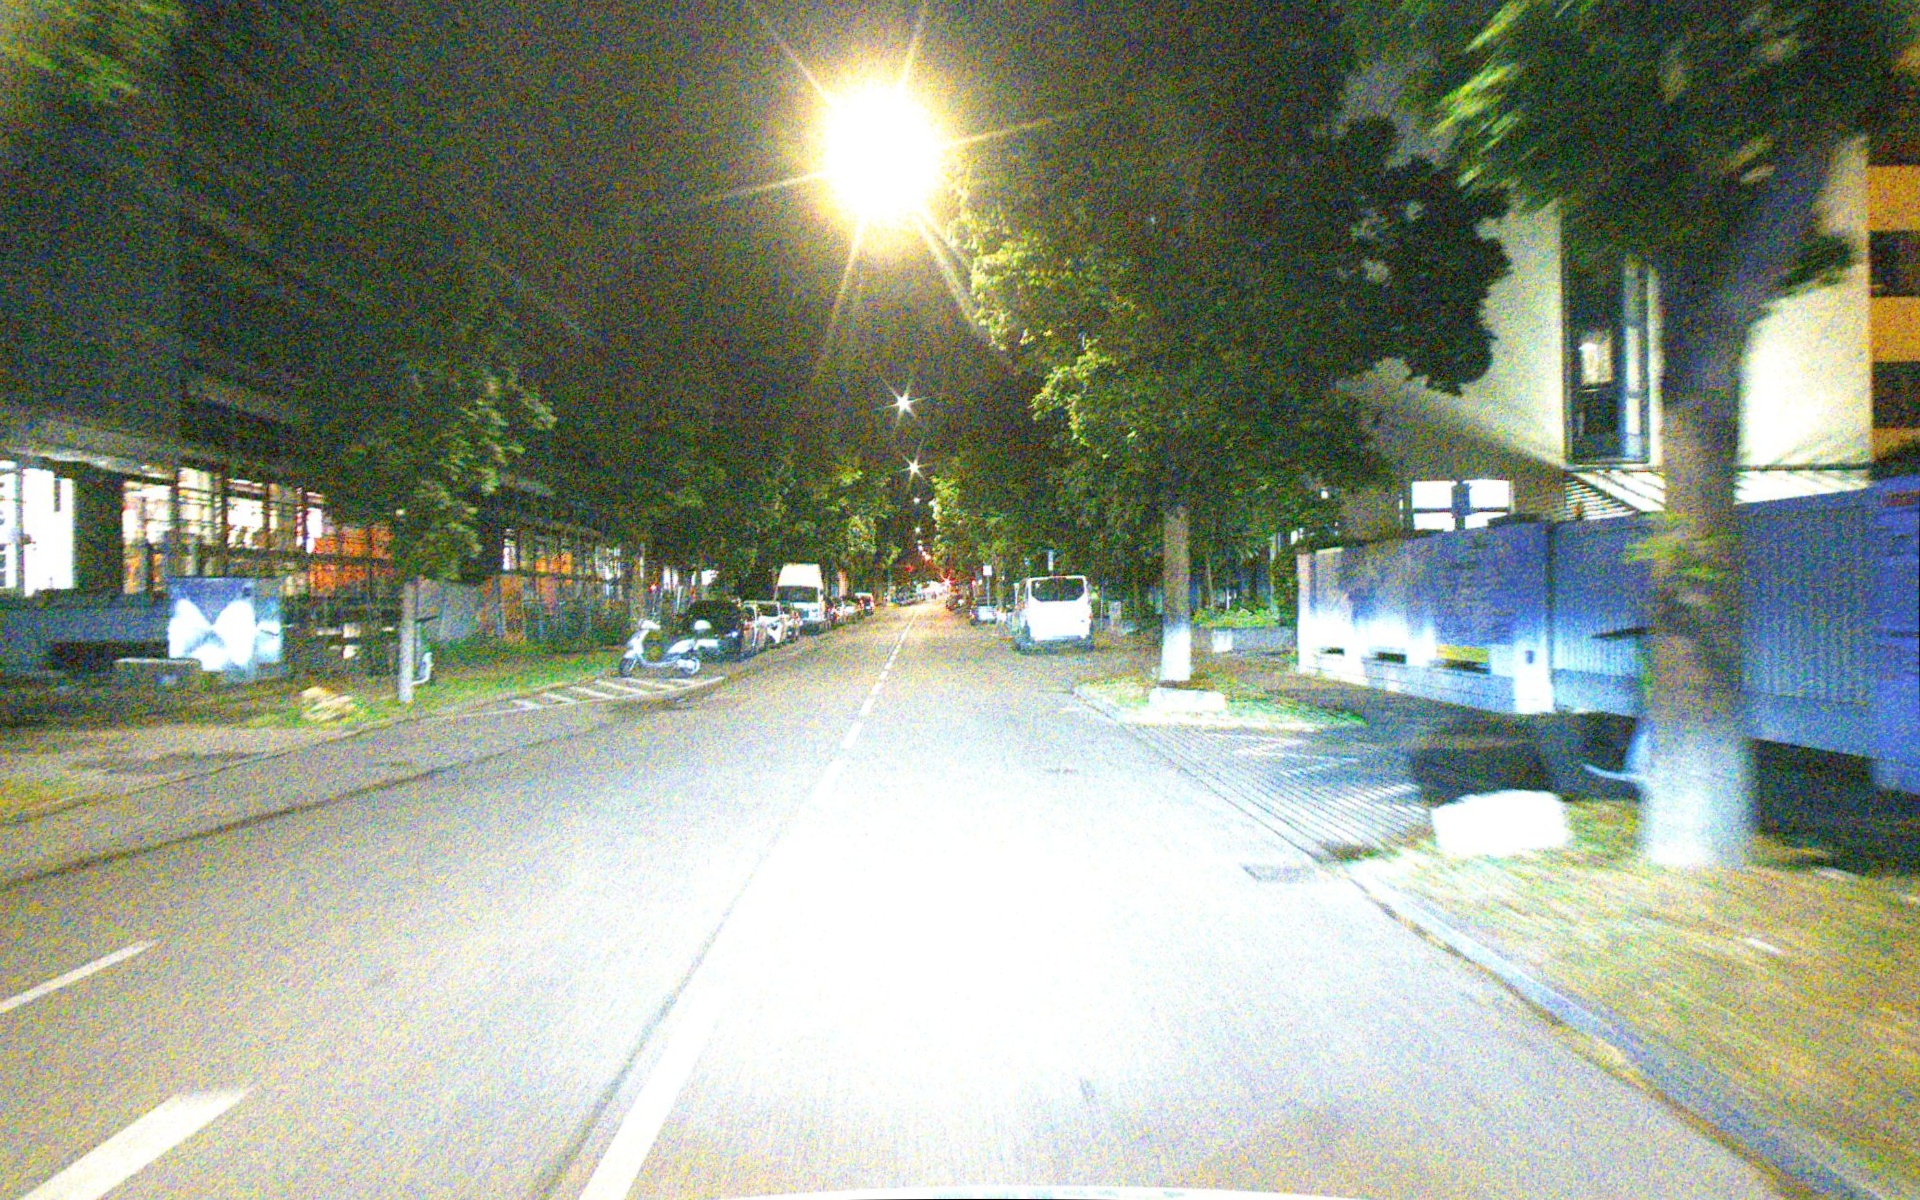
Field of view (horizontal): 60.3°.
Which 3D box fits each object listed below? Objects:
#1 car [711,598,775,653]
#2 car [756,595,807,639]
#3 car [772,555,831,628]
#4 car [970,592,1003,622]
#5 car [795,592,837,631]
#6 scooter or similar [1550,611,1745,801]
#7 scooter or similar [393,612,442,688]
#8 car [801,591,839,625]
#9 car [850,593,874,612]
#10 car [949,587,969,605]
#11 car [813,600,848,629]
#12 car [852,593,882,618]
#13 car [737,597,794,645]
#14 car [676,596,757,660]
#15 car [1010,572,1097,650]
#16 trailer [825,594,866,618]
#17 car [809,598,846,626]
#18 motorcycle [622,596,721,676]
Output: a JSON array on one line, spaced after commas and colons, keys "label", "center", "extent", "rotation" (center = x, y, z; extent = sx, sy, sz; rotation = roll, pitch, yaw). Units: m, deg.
[{"label": "car", "center": [-6.248, 0.706, 47.842], "extent": [1.415, 1.454, 3.902], "rotation": [2, 0, -2]}, {"label": "car", "center": [-6.443, 0.619, 59.978], "extent": [1.612, 1.531, 3.859], "rotation": [0, -1, -3]}, {"label": "car", "center": [-6.716, -0.339, 70.512], "extent": [2.135, 2.960, 4.908], "rotation": [1, 0, -2]}, {"label": "car", "center": [1.377, 0.343, 86.874], "extent": [1.634, 1.454, 4.148], "rotation": [-3, 0, 1]}, {"label": "car", "center": [-6.546, 0.498, 75.647], "extent": [1.707, 1.634, 4.113], "rotation": [-2, 1, -3]}, {"label": "scooter or similar", "center": [4.813, 0.695, 11.718], "extent": [0.536, 1.224, 1.910], "rotation": [-1, 0, -1]}, {"label": "scooter or similar", "center": [-9.031, 0.813, 27.552], "extent": [0.359, 1.225, 1.427], "rotation": [-1, 0, -1]}, {"label": "car", "center": [-6.856, 0.359, 81.496], "extent": [1.707, 1.634, 4.295], "rotation": [0, 0, -3]}, {"label": "car", "center": [-8.141, 0.192, 137.198], "extent": [1.665, 1.458, 3.828], "rotation": [3, 0, 0]}, {"label": "car", "center": [-0.108, -0.380, 157.507], "extent": [1.815, 1.683, 4.208], "rotation": [0, 0, -1]}, {"label": "car", "center": [-7.176, 0.784, 92.124], "extent": [1.682, 1.528, 4.204], "rotation": [2, 0, -2]}, {"label": "car", "center": [-6.452, 0.343, 114.938], "extent": [1.785, 1.626, 4.072], "rotation": [3, 0, 0]}, {"label": "car", "center": [-6.282, 0.647, 53.590], "extent": [1.516, 1.481, 3.367], "rotation": [1, 0, -2]}, {"label": "car", "center": [-6.214, 0.687, 42.535], "extent": [1.609, 1.531, 3.902], "rotation": [1, 0, -2]}, {"label": "car", "center": [2.474, 0.268, 44.764], "extent": [1.912, 1.998, 4.601], "rotation": [0, 0, -3]}, {"label": "trailer", "center": [-6.865, 0.377, 99.923], "extent": [2.067, 1.358, 5.434], "rotation": [2, 0, 0]}, {"label": "car", "center": [-6.939, 0.607, 86.942], "extent": [1.670, 1.436, 4.632], "rotation": [0, 0, -2]}, {"label": "motorcycle", "center": [-5.806, 0.731, 33.292], "extent": [1.874, 1.577, 0.635], "rotation": [1, -1, -21]}]
